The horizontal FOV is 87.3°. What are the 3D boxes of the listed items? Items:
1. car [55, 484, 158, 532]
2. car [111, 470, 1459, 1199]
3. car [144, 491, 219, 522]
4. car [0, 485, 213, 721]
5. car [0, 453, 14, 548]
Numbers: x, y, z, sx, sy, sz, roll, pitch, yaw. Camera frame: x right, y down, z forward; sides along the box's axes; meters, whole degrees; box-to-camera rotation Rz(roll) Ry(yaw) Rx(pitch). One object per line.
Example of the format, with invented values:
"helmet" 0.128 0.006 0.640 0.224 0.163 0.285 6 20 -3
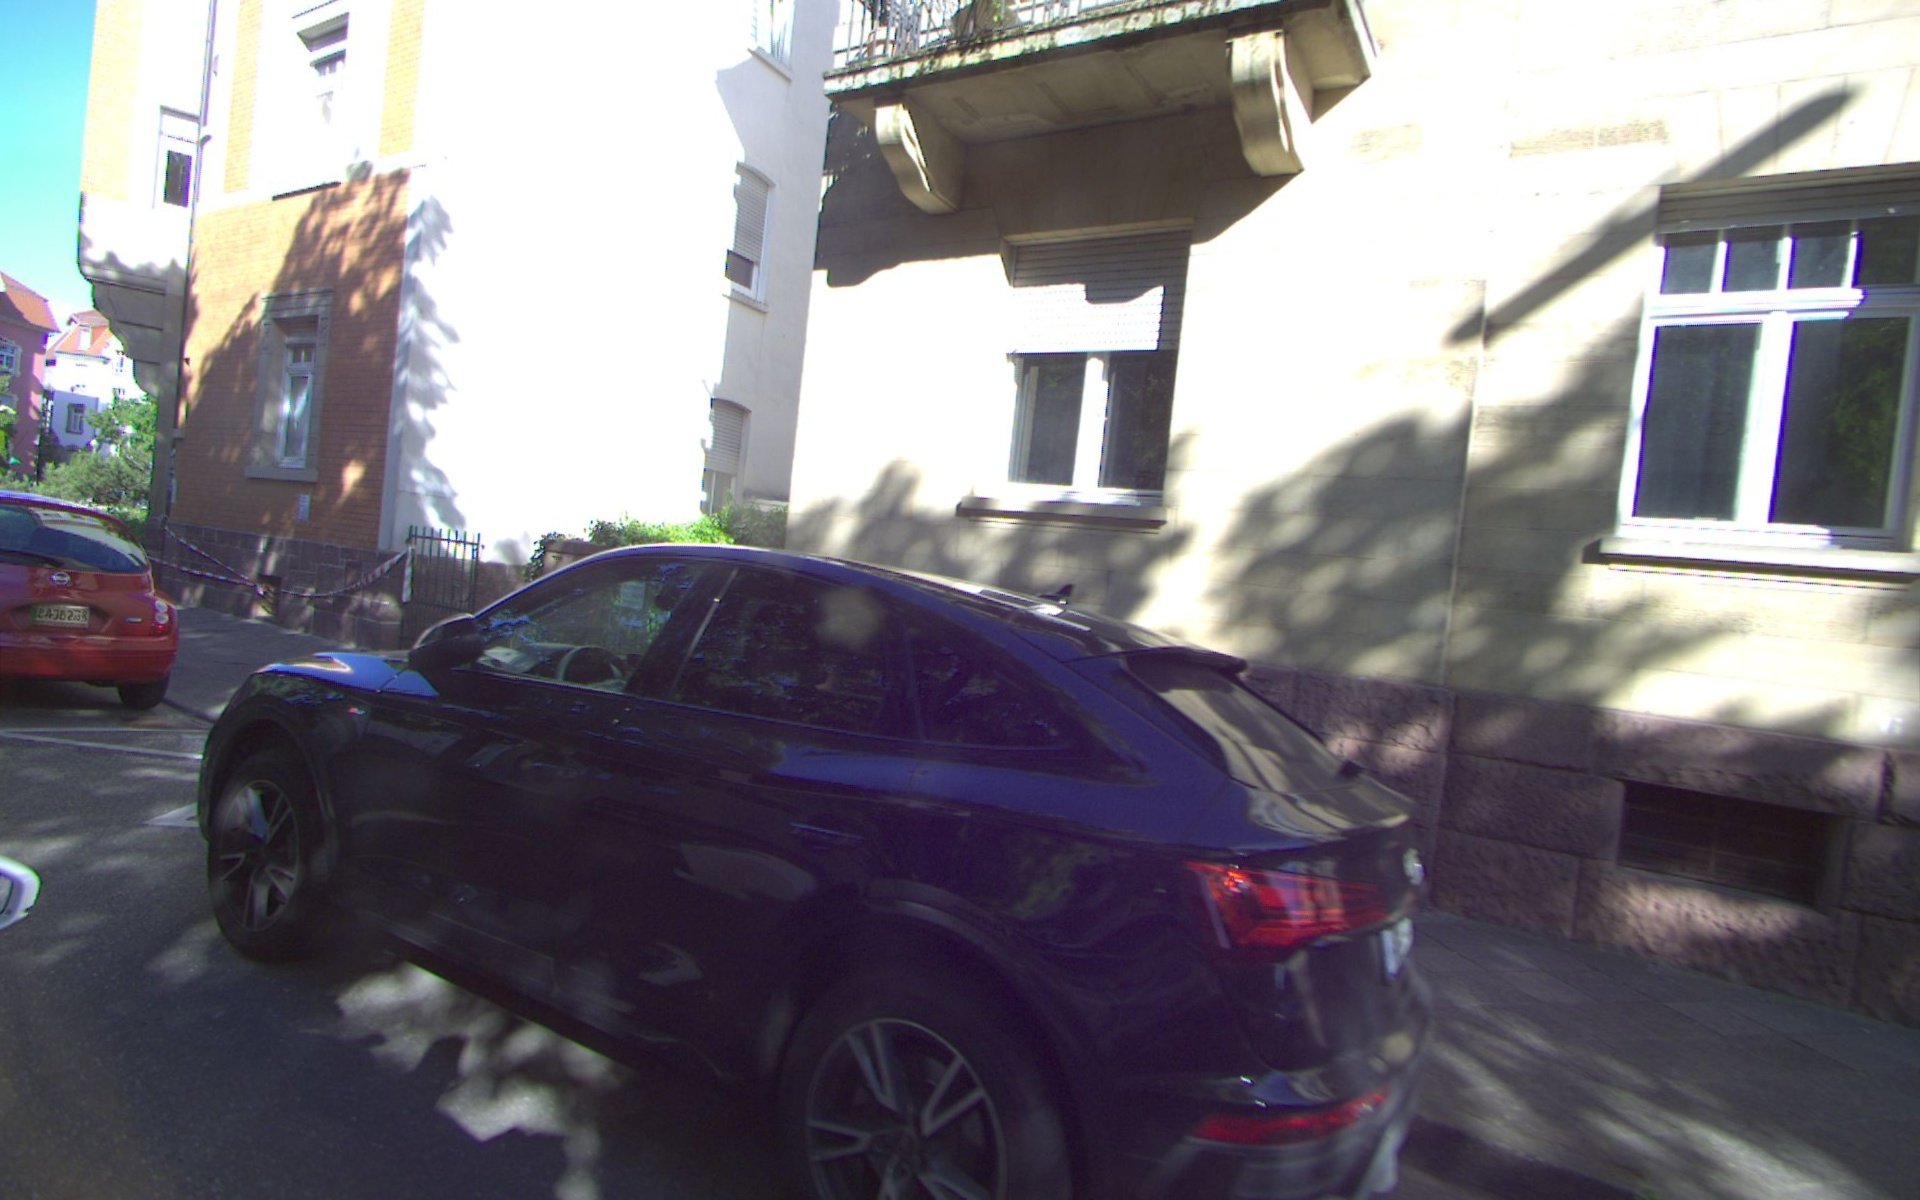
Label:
"car" -36.368 -3.910 42.878 3.701 1.583 1.719 6 1 21
"car" -0.805 0.639 3.593 4.414 1.663 1.868 7 -1 29
"car" -50.561 -6.047 65.413 1.531 1.474 3.975 6 1 4
"car" -7.882 -0.145 7.983 3.933 1.555 1.649 7 -2 31
"car" -12.068 -0.865 10.638 4.202 1.892 1.805 7 -2 31
